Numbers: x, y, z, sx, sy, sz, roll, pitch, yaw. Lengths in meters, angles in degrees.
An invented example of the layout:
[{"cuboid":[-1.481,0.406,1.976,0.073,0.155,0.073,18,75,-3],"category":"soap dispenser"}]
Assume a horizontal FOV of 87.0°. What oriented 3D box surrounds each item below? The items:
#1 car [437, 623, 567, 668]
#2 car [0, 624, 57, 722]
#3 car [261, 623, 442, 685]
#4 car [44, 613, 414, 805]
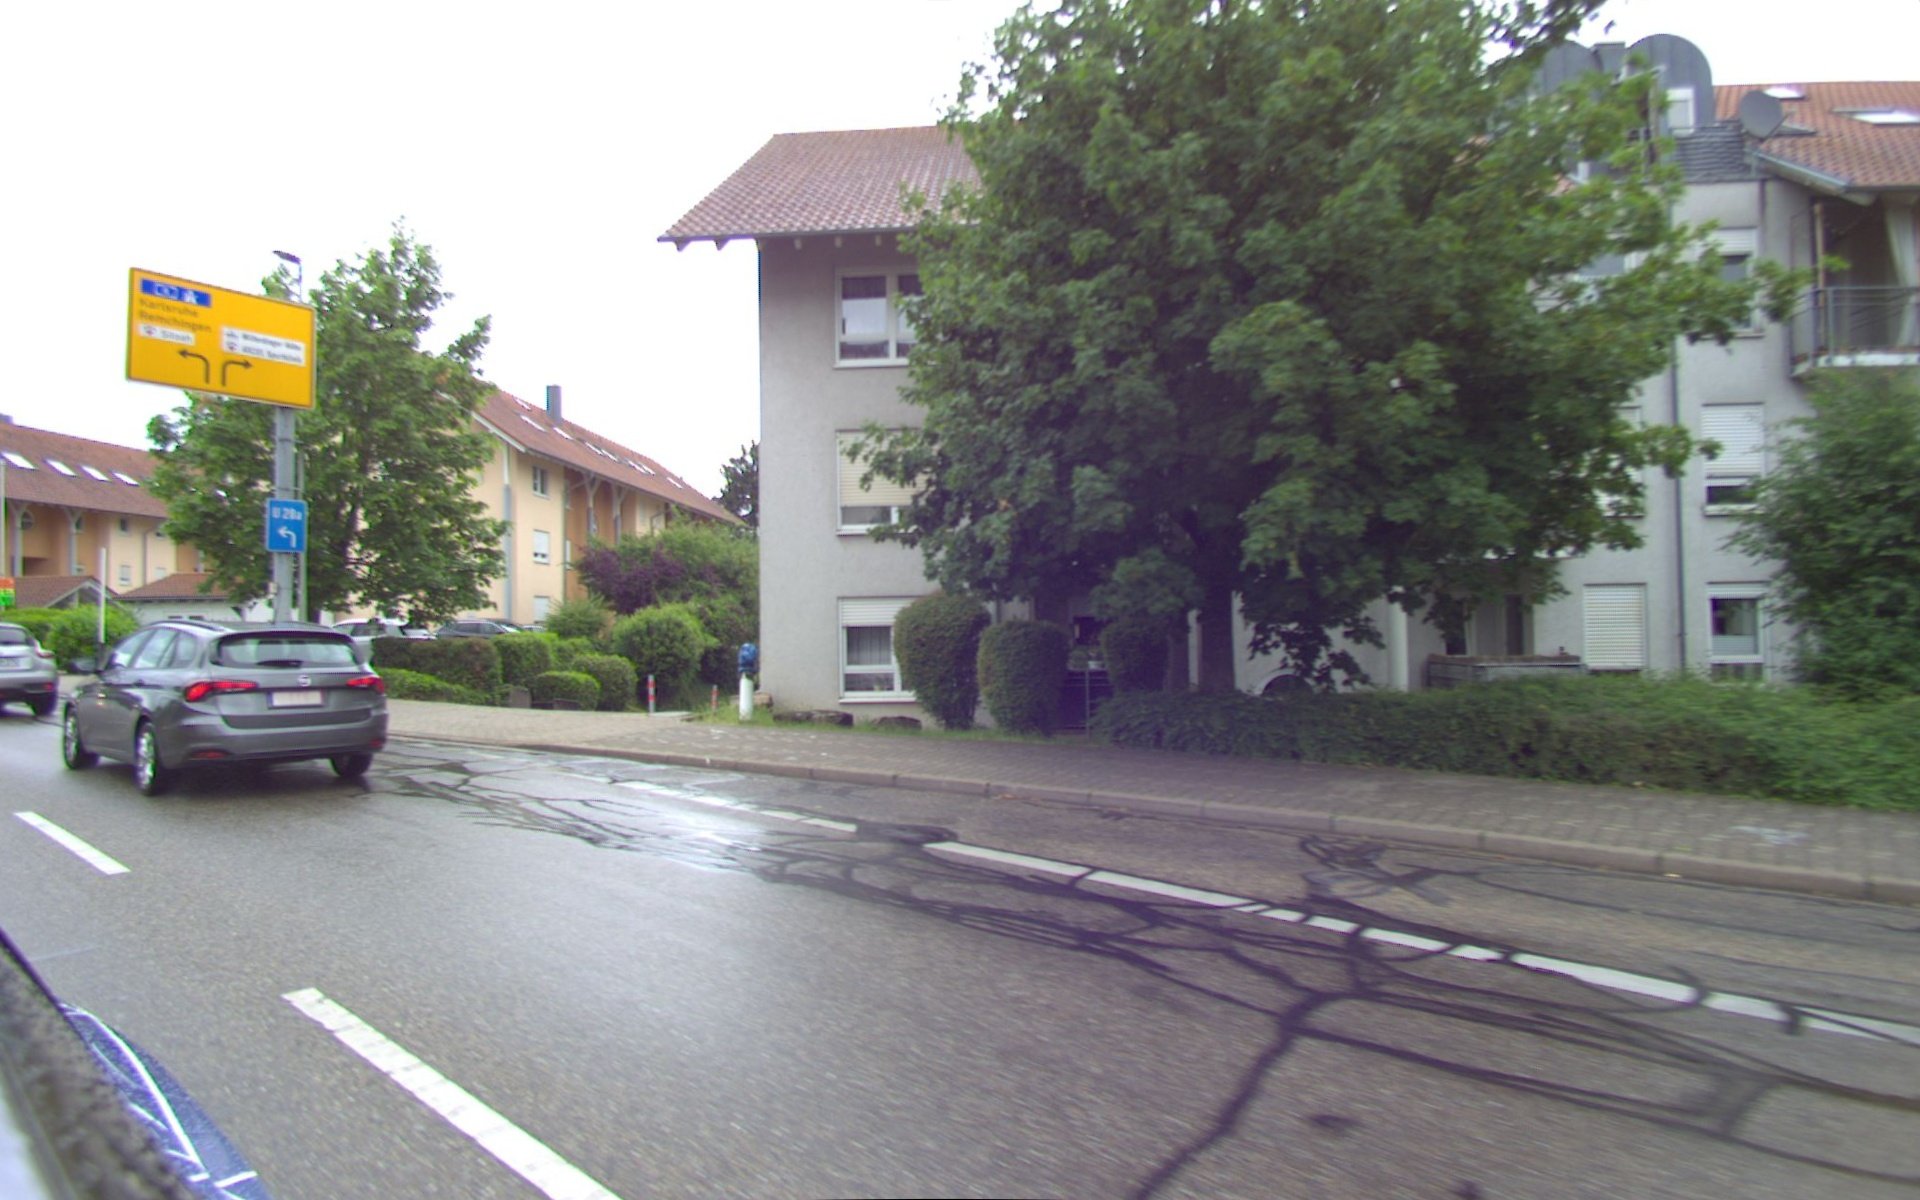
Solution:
[{"cuboid":[-14.270,1.414,31.619,3.394,1.392,1.514,0,-2,3],"category":"car"},{"cuboid":[-16.805,1.176,16.892,3.989,1.537,1.649,-1,-2,34],"category":"car"},{"cuboid":[-16.582,1.459,27.688,3.947,1.614,1.736,0,-2,3],"category":"car"},{"cuboid":[-7.214,0.933,9.843,4.243,1.485,1.759,-2,-3,37],"category":"car"}]
